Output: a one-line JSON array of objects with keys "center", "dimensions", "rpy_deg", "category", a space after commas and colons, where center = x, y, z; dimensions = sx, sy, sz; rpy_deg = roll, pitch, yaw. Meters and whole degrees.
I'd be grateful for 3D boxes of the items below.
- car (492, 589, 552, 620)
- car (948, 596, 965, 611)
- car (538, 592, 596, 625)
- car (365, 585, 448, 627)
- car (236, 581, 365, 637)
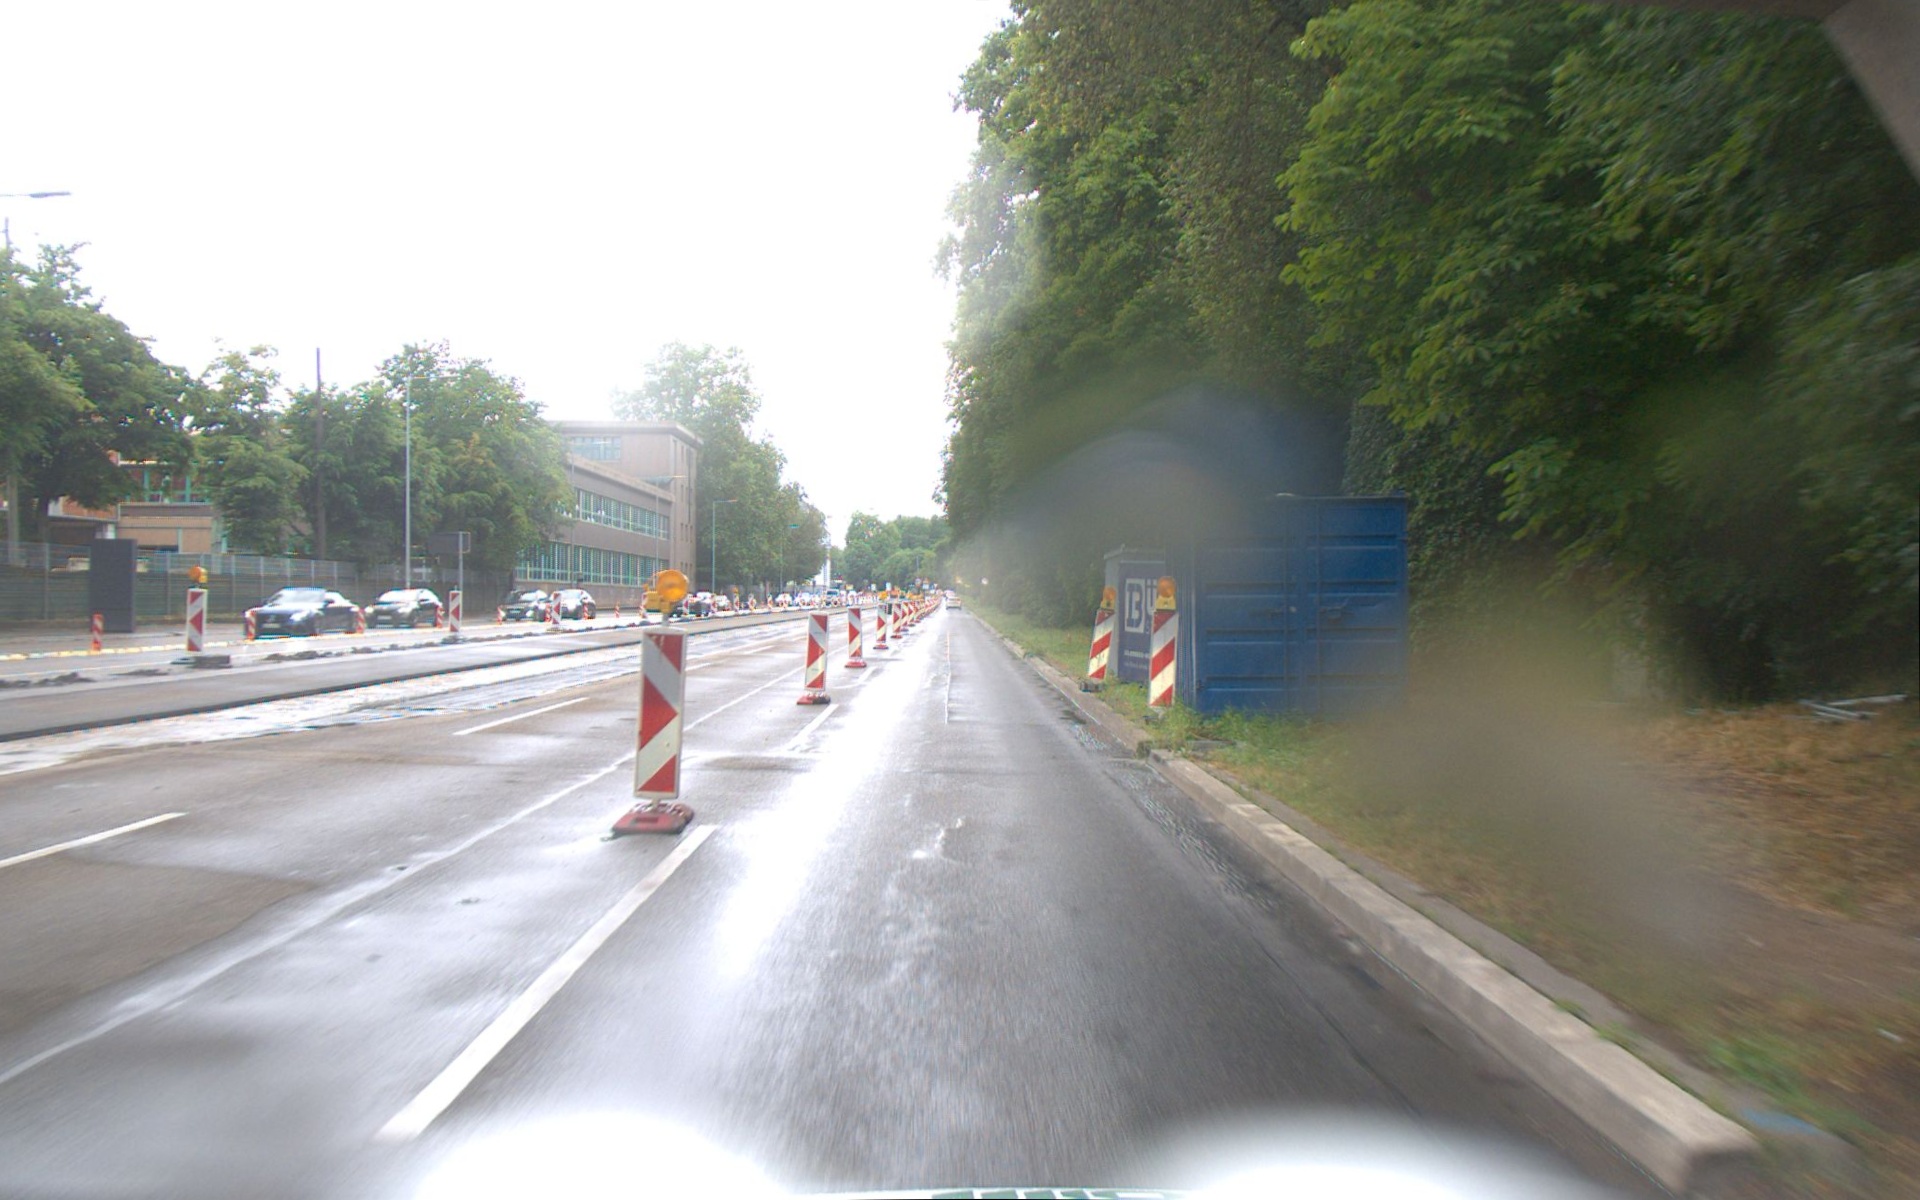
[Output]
[{"center": [-21.245, 0.204, 80.350], "dimensions": [1.931, 1.467, 3.999], "rpy_deg": [0, 0, -1], "category": "car"}, {"center": [-0.399, 0.414, 193.402], "dimensions": [1.953, 1.668, 3.999], "rpy_deg": [0, 0, -1], "category": "car"}, {"center": [-18.160, 0.399, 76.566], "dimensions": [1.688, 1.467, 4.000], "rpy_deg": [0, 0, 0], "category": "car"}, {"center": [-20.400, 0.219, 61.099], "dimensions": [1.688, 1.467, 4.000], "rpy_deg": [0, 0, 0], "category": "car"}, {"center": [-17.971, 0.244, 45.278], "dimensions": [1.930, 1.467, 4.000], "rpy_deg": [0, 0, 0], "category": "car"}]
